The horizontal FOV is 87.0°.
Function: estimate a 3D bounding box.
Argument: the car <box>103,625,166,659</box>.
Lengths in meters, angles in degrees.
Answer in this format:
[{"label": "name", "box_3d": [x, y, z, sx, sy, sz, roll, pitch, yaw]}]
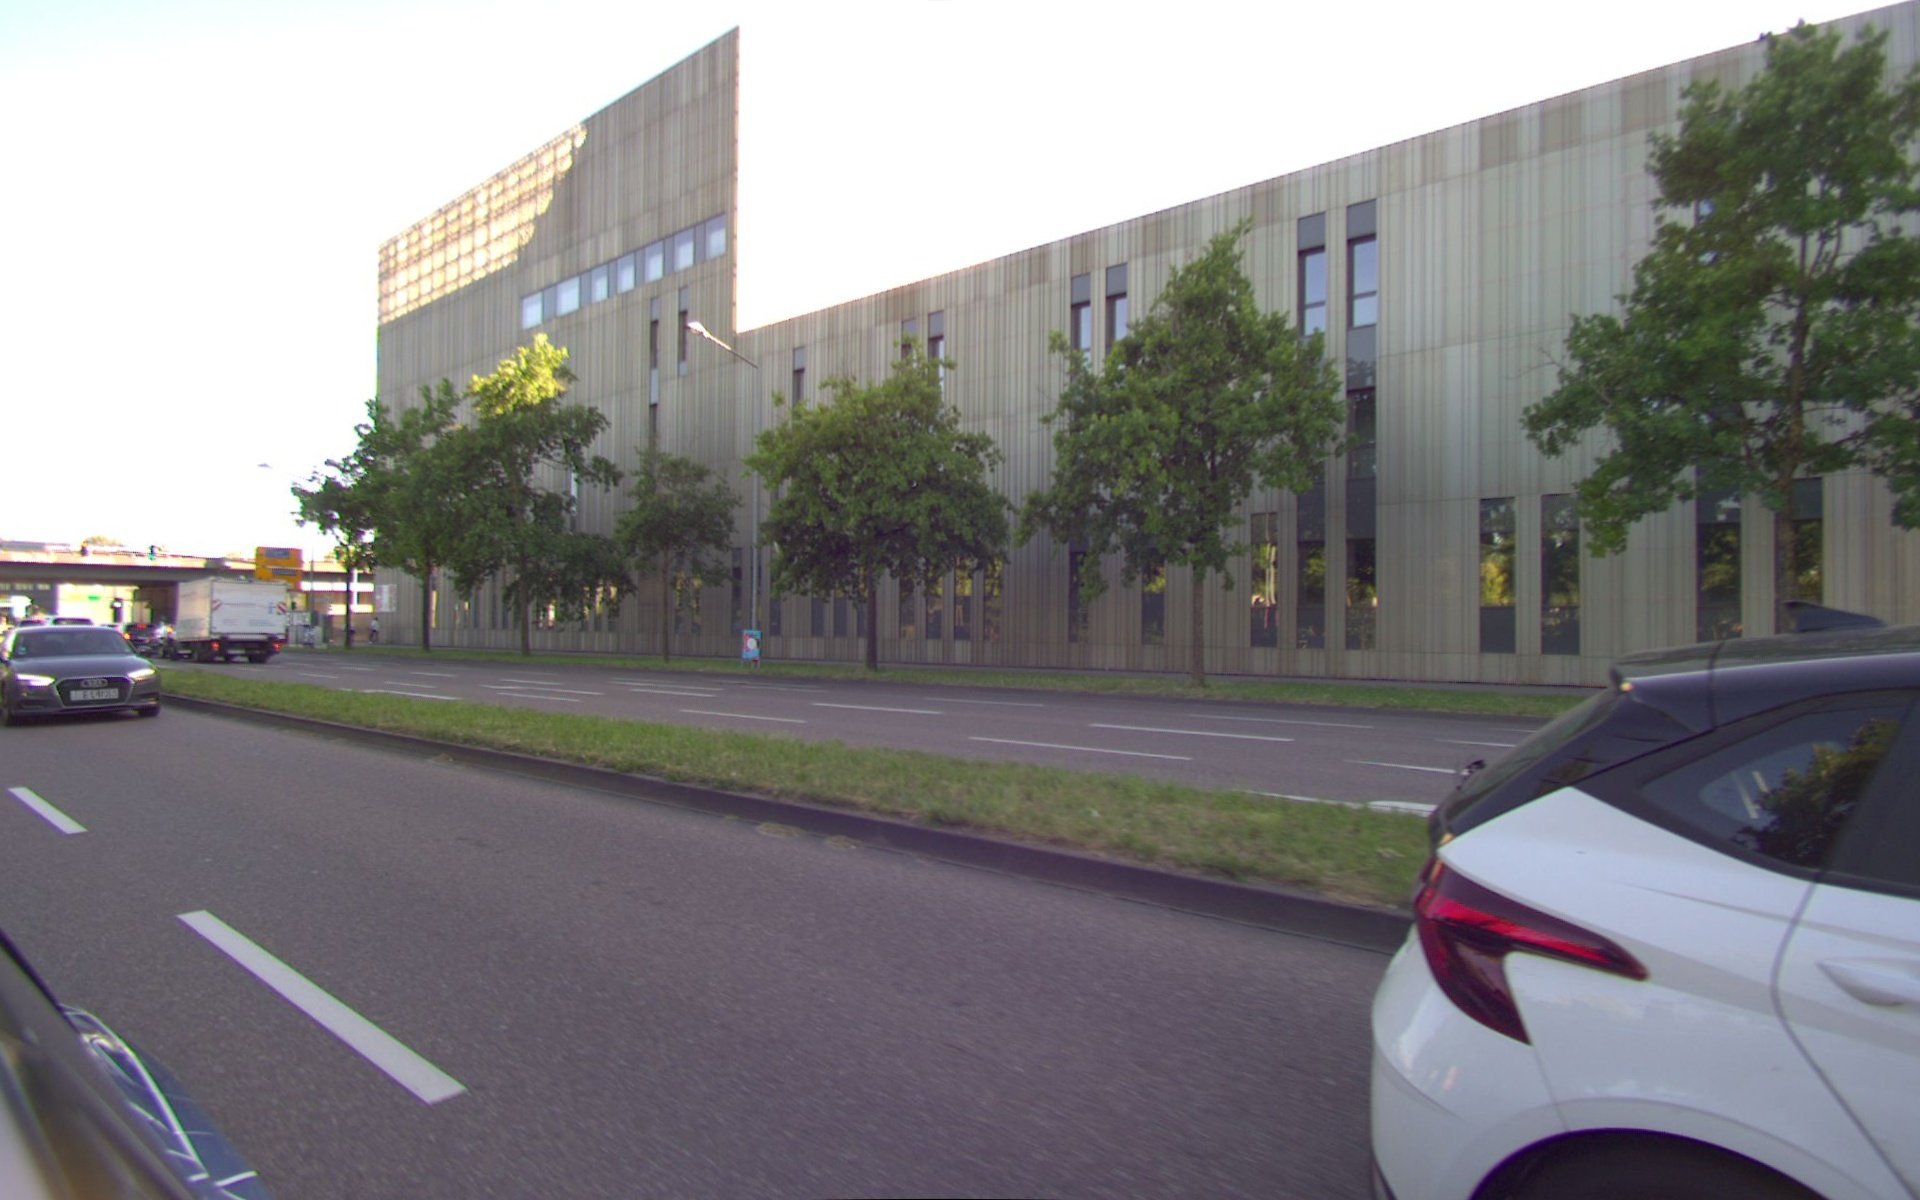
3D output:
[{"label": "car", "box_3d": [-38.175, 1.952, 46.800, 3.638, 1.481, 1.603, -2, -4, 41]}]

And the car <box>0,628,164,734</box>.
[{"label": "car", "box_3d": [-13.942, 1.142, 15.666, 4.361, 1.415, 1.680, -1, -2, 40]}]

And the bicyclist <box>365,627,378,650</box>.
[{"label": "bicyclist", "box_3d": [-38.415, 2.516, 66.026, 0.644, 1.518, 0.502, -2, -3, 39]}]

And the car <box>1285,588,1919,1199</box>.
[{"label": "car", "box_3d": [2.714, 0.676, 1.202, 4.072, 1.419, 1.760, -2, -1, 41]}]

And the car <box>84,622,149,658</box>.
[{"label": "car", "box_3d": [-42.114, 1.991, 50.486, 3.998, 1.669, 1.822, 0, -3, 41]}]

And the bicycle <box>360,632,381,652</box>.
[{"label": "bicycle", "box_3d": [-38.488, 2.742, 66.084, 2.098, 1.280, 0.507, -2, -3, 40]}]

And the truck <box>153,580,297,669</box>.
[{"label": "truck", "box_3d": [-27.273, 0.962, 37.427, 7.110, 2.983, 2.658, -1, -4, 41]}]

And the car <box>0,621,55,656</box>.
[{"label": "car", "box_3d": [-44.554, 1.843, 48.298, 3.211, 1.592, 1.585, -1, -3, 41]}]

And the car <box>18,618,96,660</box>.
[{"label": "car", "box_3d": [-38.635, 1.649, 43.261, 4.655, 1.695, 1.805, -1, -4, 40]}]

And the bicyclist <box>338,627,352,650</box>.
[{"label": "bicyclist", "box_3d": [-40.008, 2.517, 65.822, 0.752, 1.453, 0.502, -2, -3, 40]}]

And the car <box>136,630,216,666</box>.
[{"label": "car", "box_3d": [-32.689, 1.988, 42.162, 3.997, 1.435, 1.816, -2, -4, 40]}]

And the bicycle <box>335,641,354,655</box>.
[{"label": "bicycle", "box_3d": [-40.062, 3.091, 65.845, 1.753, 0.897, 0.507, -2, -3, 40]}]
